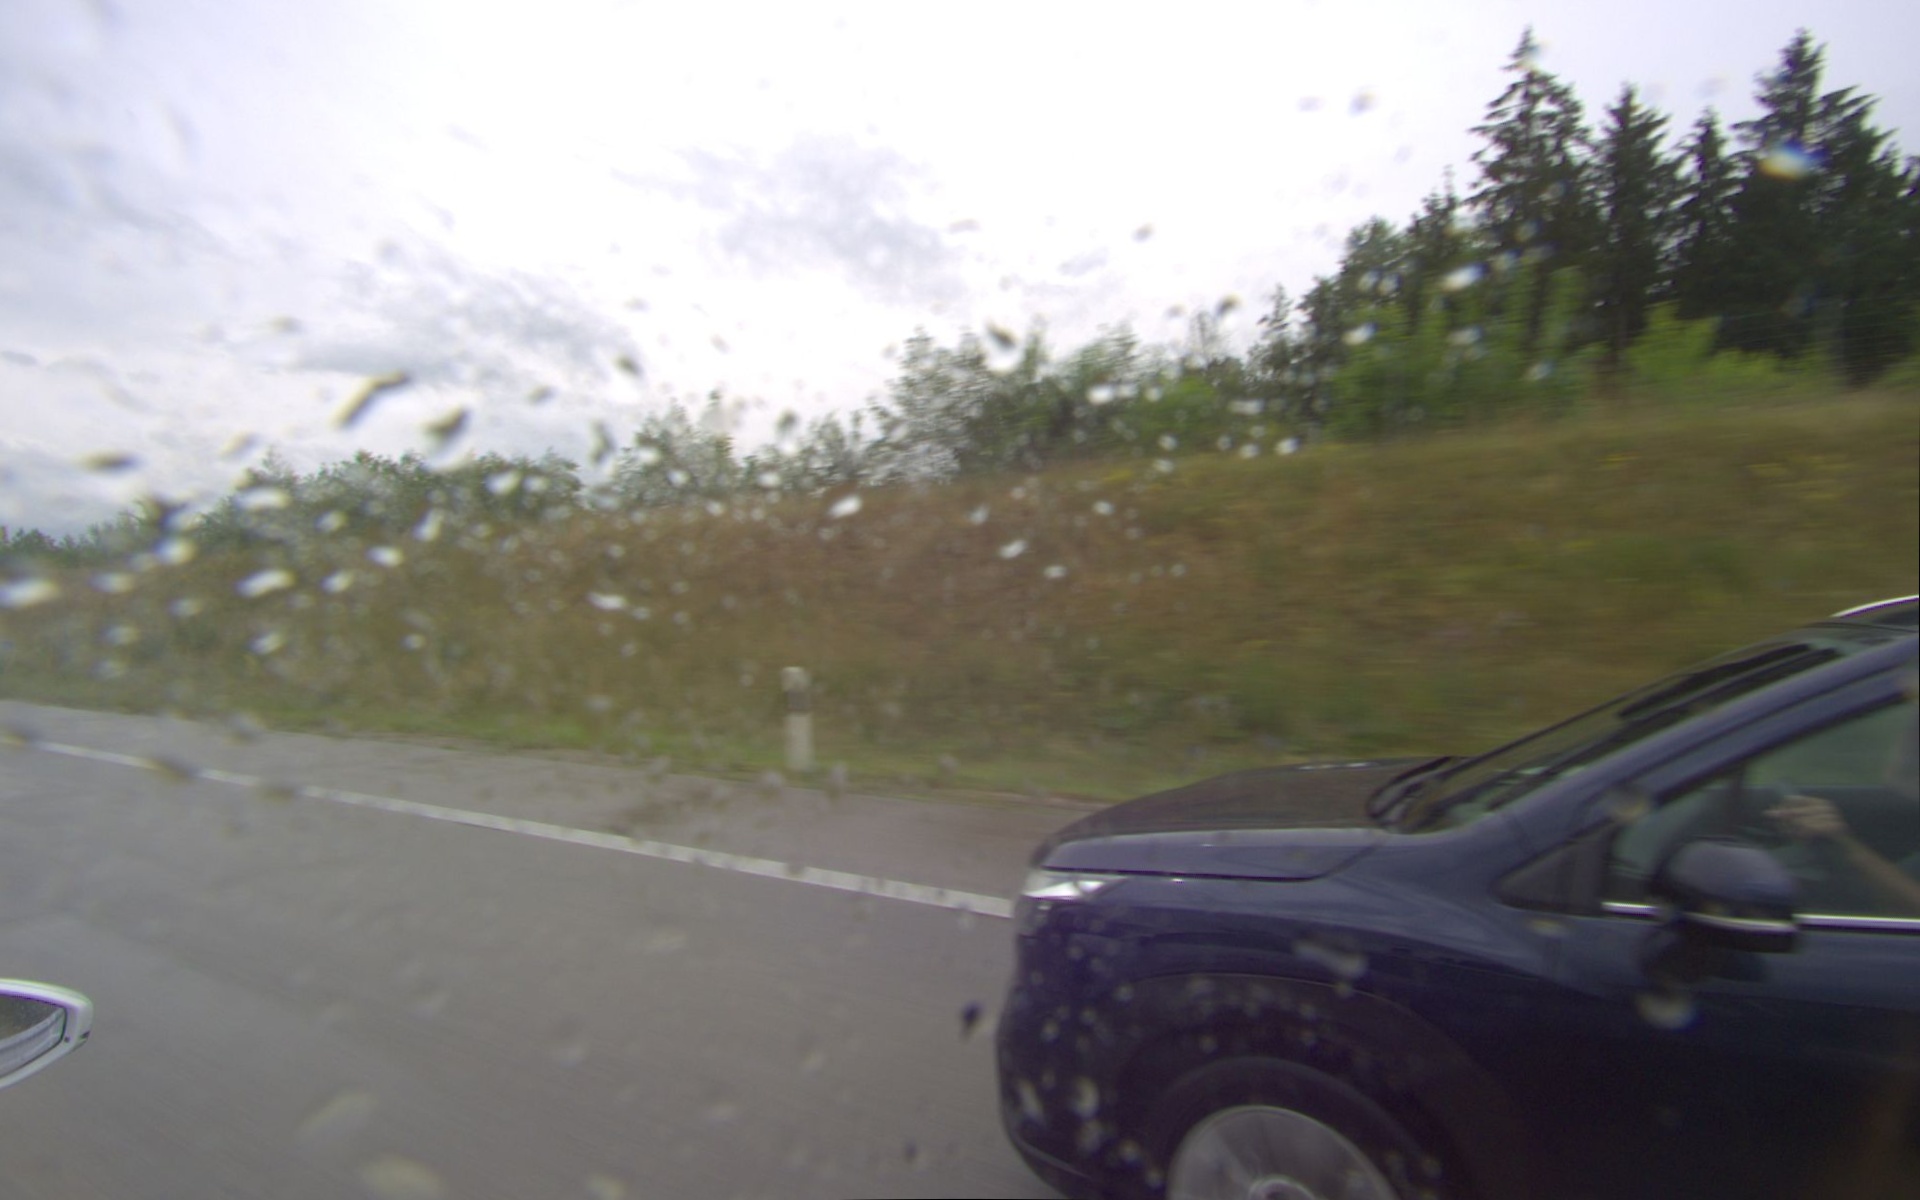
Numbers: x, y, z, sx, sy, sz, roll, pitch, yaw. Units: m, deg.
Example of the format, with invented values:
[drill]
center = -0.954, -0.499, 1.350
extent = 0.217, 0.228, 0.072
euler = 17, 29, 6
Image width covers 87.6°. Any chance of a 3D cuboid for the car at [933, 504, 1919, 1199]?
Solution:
[car]
center = 1.950, 0.692, 2.059
extent = 3.579, 1.596, 1.891
euler = 0, -1, 32
